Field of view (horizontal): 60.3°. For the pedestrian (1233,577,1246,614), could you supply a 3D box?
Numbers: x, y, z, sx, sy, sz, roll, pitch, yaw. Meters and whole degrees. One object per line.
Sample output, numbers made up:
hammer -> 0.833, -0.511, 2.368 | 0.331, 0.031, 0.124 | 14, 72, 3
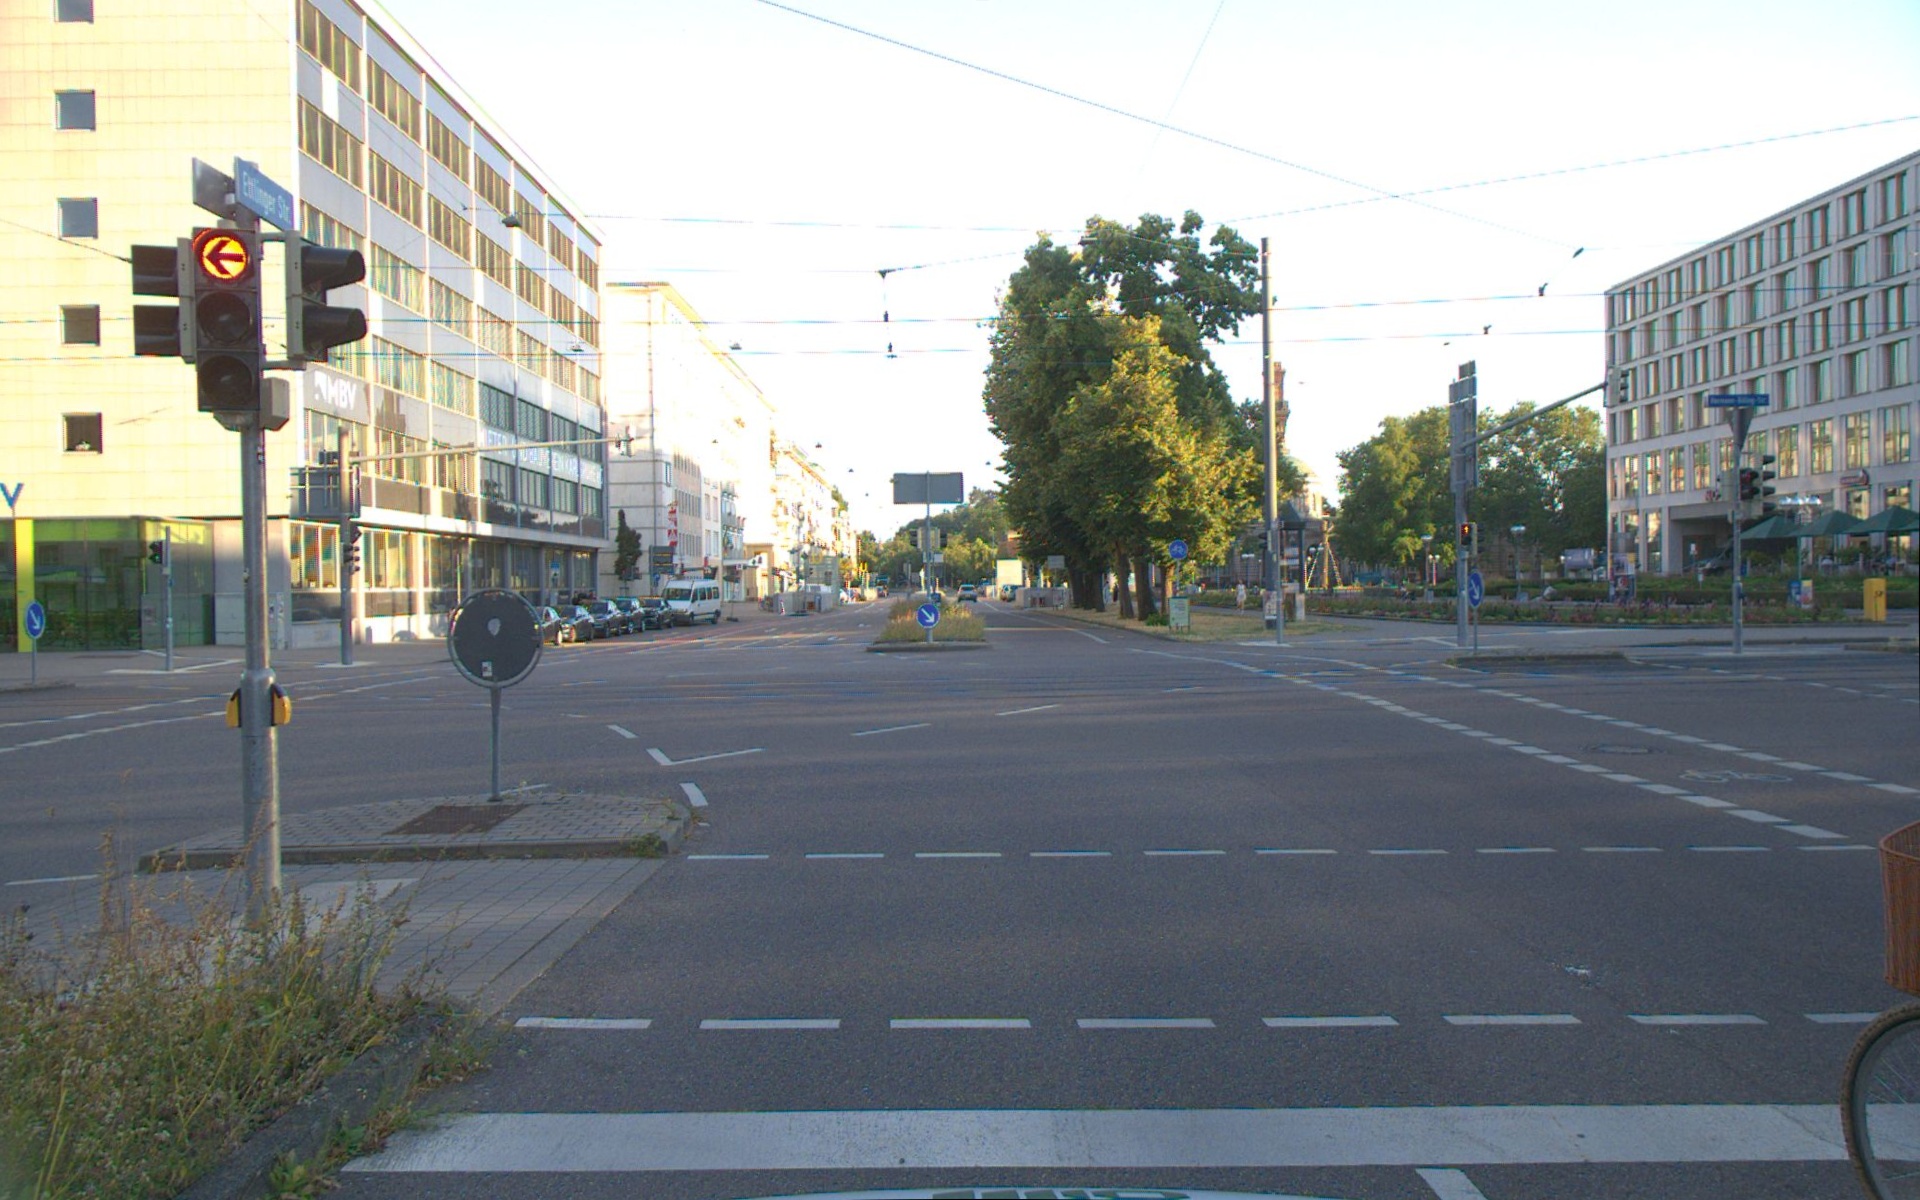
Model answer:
pedestrian -> 12.921, -0.197, 76.475 | 0.498, 1.697, 0.531 | -1, 0, -2

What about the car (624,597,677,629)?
car -> -15.799, 0.684, 84.622 | 1.759, 1.501, 4.001 | -1, -2, 3

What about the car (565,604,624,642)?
car -> -16.094, 1.039, 73.022 | 1.760, 1.501, 3.998 | -1, -2, -1

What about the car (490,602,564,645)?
car -> -16.073, 0.905, 61.617 | 1.760, 1.501, 3.998 | -1, -2, -1

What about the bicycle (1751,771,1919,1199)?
bicycle -> 2.132, 0.942, 2.752 | 0.624, 1.087, 2.069 | 0, 0, -1

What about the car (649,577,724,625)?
car -> -15.007, 0.118, 91.230 | 2.130, 2.427, 5.994 | -2, -2, 11

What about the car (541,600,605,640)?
car -> -15.930, 0.856, 68.271 | 1.760, 1.501, 3.998 | -1, -2, -1

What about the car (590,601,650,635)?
car -> -16.045, 0.866, 78.217 | 1.758, 1.501, 4.001 | -1, -2, 3

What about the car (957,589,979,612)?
car -> 0.754, 0.039, 156.959 | 1.953, 2.049, 3.999 | -1, 0, -2
